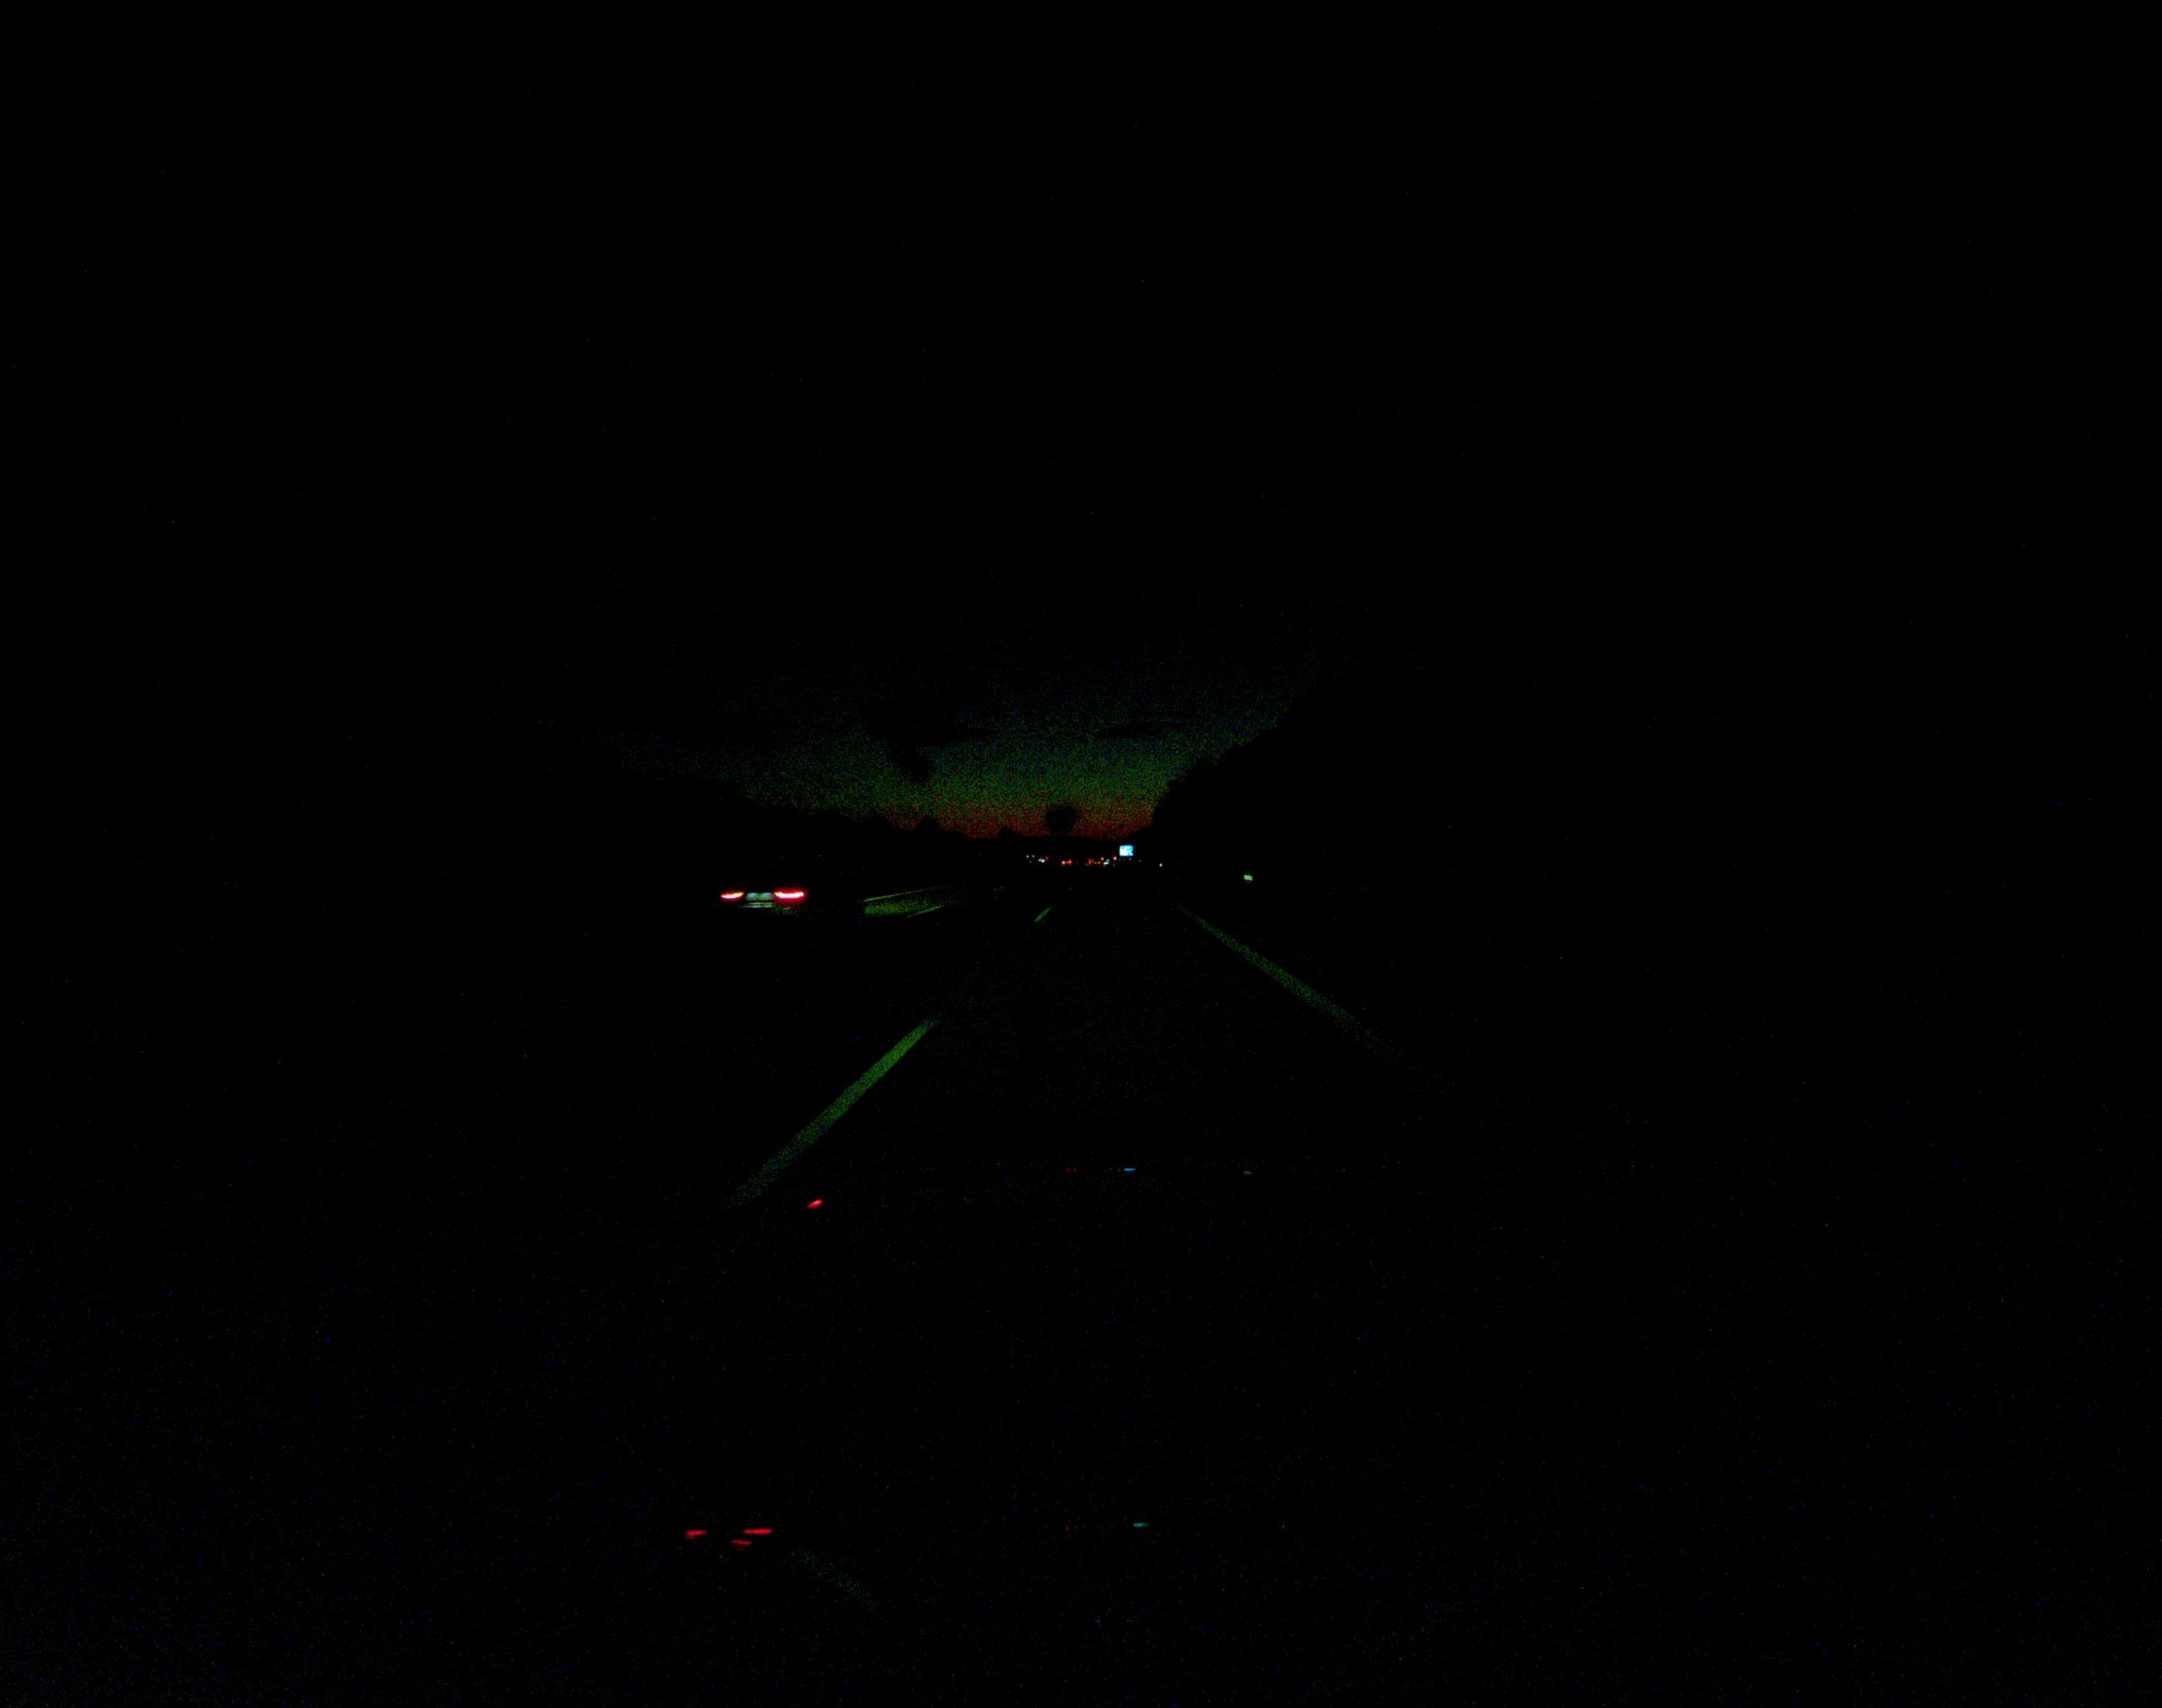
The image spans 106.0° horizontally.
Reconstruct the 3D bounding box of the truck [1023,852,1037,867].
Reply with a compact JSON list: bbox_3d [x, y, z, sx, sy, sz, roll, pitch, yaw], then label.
[{"bbox_3d":[-15.978,1.596,255.618,3.313,4.433,6.710,-3,0,1],"label":"truck"}]

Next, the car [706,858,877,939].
[{"bbox_3d":[-6.204,0.868,18.204,1.773,1.487,5.255,-1,0,2],"label":"car"}]

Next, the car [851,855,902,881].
[{"bbox_3d":[-13.961,0.905,55.929,2.188,1.682,4.765,-1,0,2],"label":"car"}]

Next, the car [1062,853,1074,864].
[{"bbox_3d":[-2.463,0.870,155.865,2.188,1.955,4.635,-1,0,2],"label":"car"}]

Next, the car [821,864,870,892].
[{"bbox_3d":[-17.773,1.762,61.714,2.188,1.955,4.765,-1,0,2],"label":"car"}]

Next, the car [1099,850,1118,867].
[{"bbox_3d":[3.539,0.614,106.067,2.190,1.955,4.762,-4,0,0],"label":"car"}]
